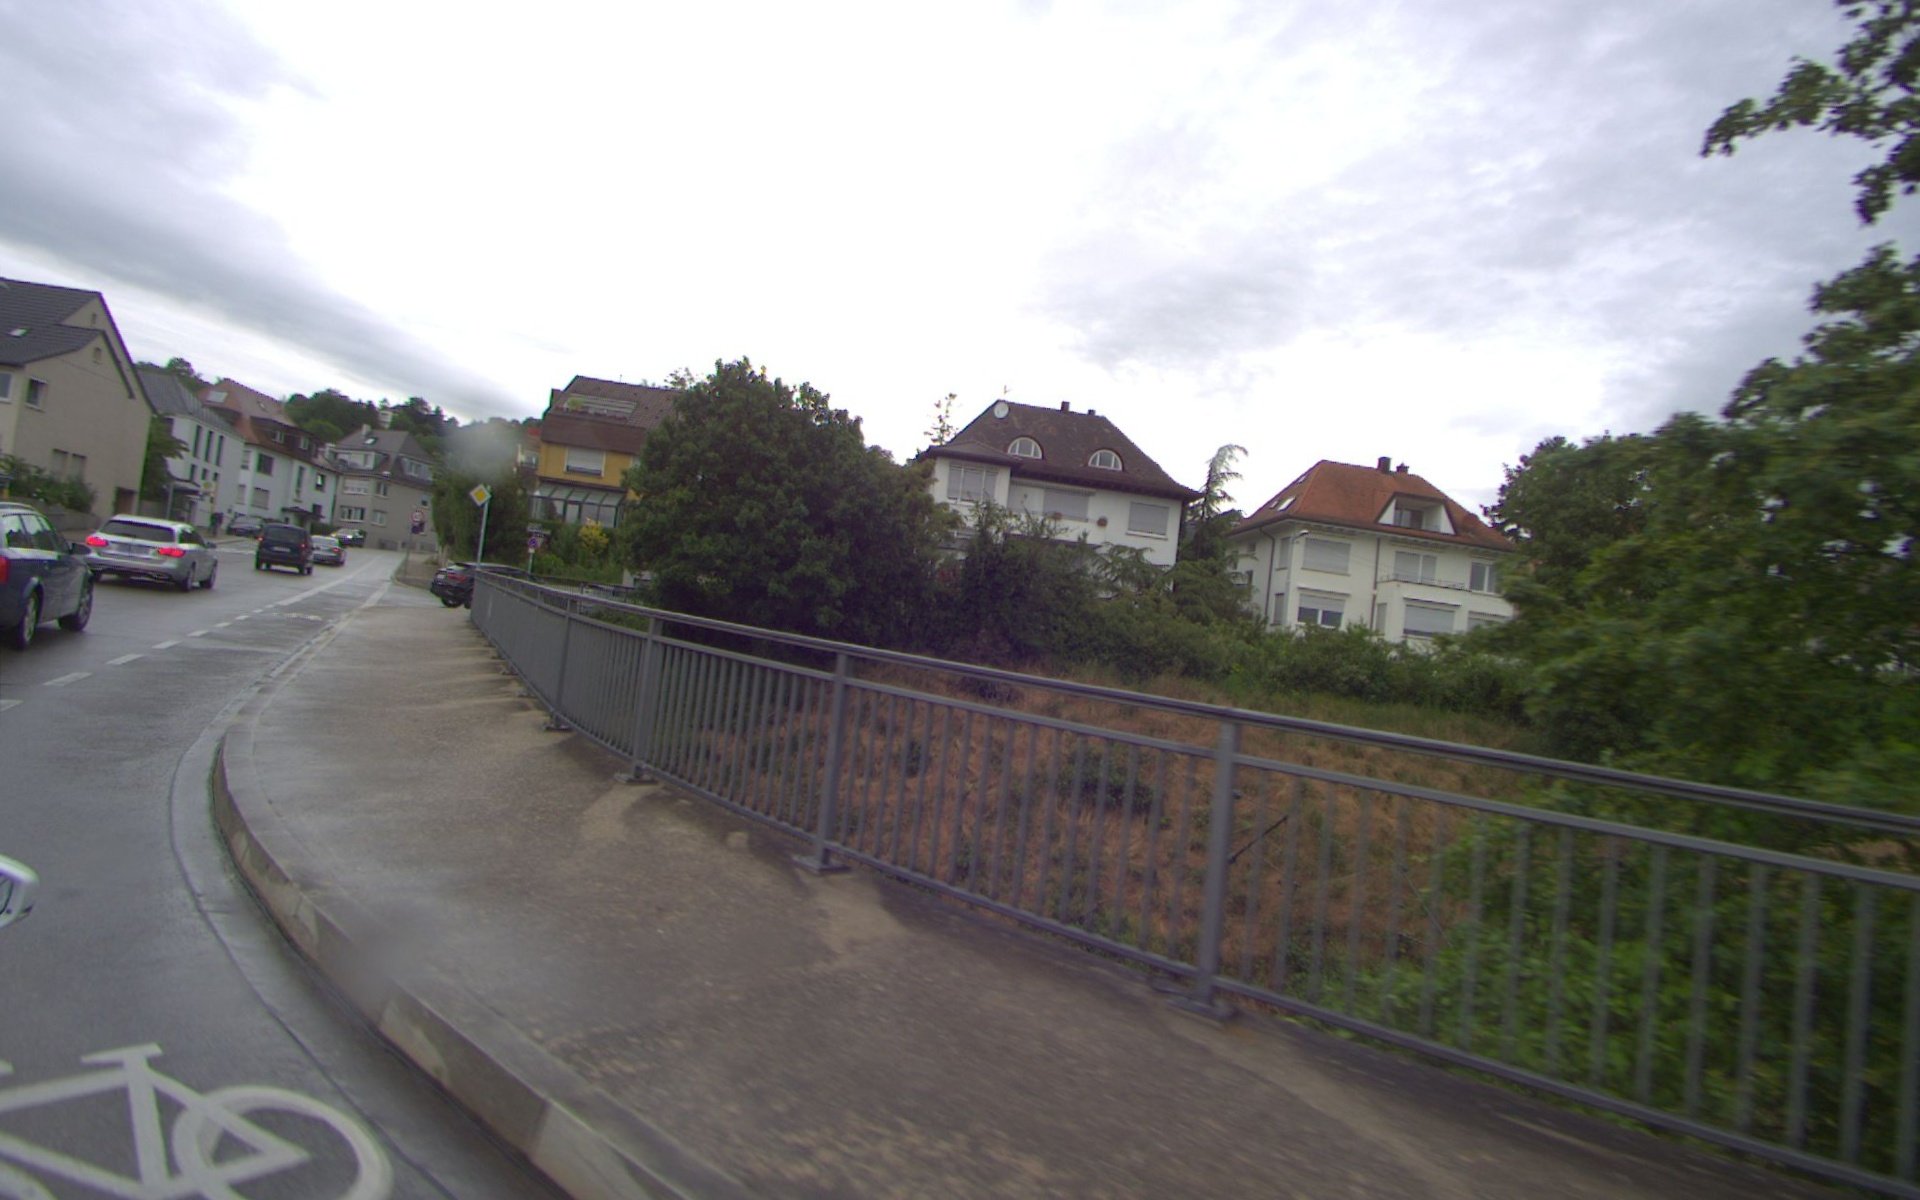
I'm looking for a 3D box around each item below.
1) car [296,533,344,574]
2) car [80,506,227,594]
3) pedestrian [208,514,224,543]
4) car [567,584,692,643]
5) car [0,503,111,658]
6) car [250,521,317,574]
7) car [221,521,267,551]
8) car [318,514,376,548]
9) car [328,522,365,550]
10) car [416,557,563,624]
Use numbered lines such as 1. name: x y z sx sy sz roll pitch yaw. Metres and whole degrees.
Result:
1. car: -33.570 -2.432 52.822 1.812 1.749 3.754 12 -3 -32
2. car: -17.540 -1.053 22.076 1.881 1.403 3.967 12 -4 -32
3. pedestrian: -45.471 -4.359 61.459 0.653 1.714 0.575 5 3 -35
4. car: -11.865 0.493 36.237 3.763 1.439 1.808 12 -4 -40
5. car: -10.666 -0.376 10.703 1.736 1.423 3.968 10 -2 -31
6. car: -26.480 -2.048 39.480 1.812 1.634 3.754 12 -3 -32
7. car: -51.019 -4.503 71.755 1.977 1.728 3.973 8 -2 -28
8. car: -52.953 -5.961 87.011 1.963 2.034 4.007 10 -3 5
9. car: -59.068 -6.143 96.916 1.975 2.035 3.983 11 -3 -20
10. car: -15.104 -0.277 32.455 1.798 1.439 3.784 7 -4 33
